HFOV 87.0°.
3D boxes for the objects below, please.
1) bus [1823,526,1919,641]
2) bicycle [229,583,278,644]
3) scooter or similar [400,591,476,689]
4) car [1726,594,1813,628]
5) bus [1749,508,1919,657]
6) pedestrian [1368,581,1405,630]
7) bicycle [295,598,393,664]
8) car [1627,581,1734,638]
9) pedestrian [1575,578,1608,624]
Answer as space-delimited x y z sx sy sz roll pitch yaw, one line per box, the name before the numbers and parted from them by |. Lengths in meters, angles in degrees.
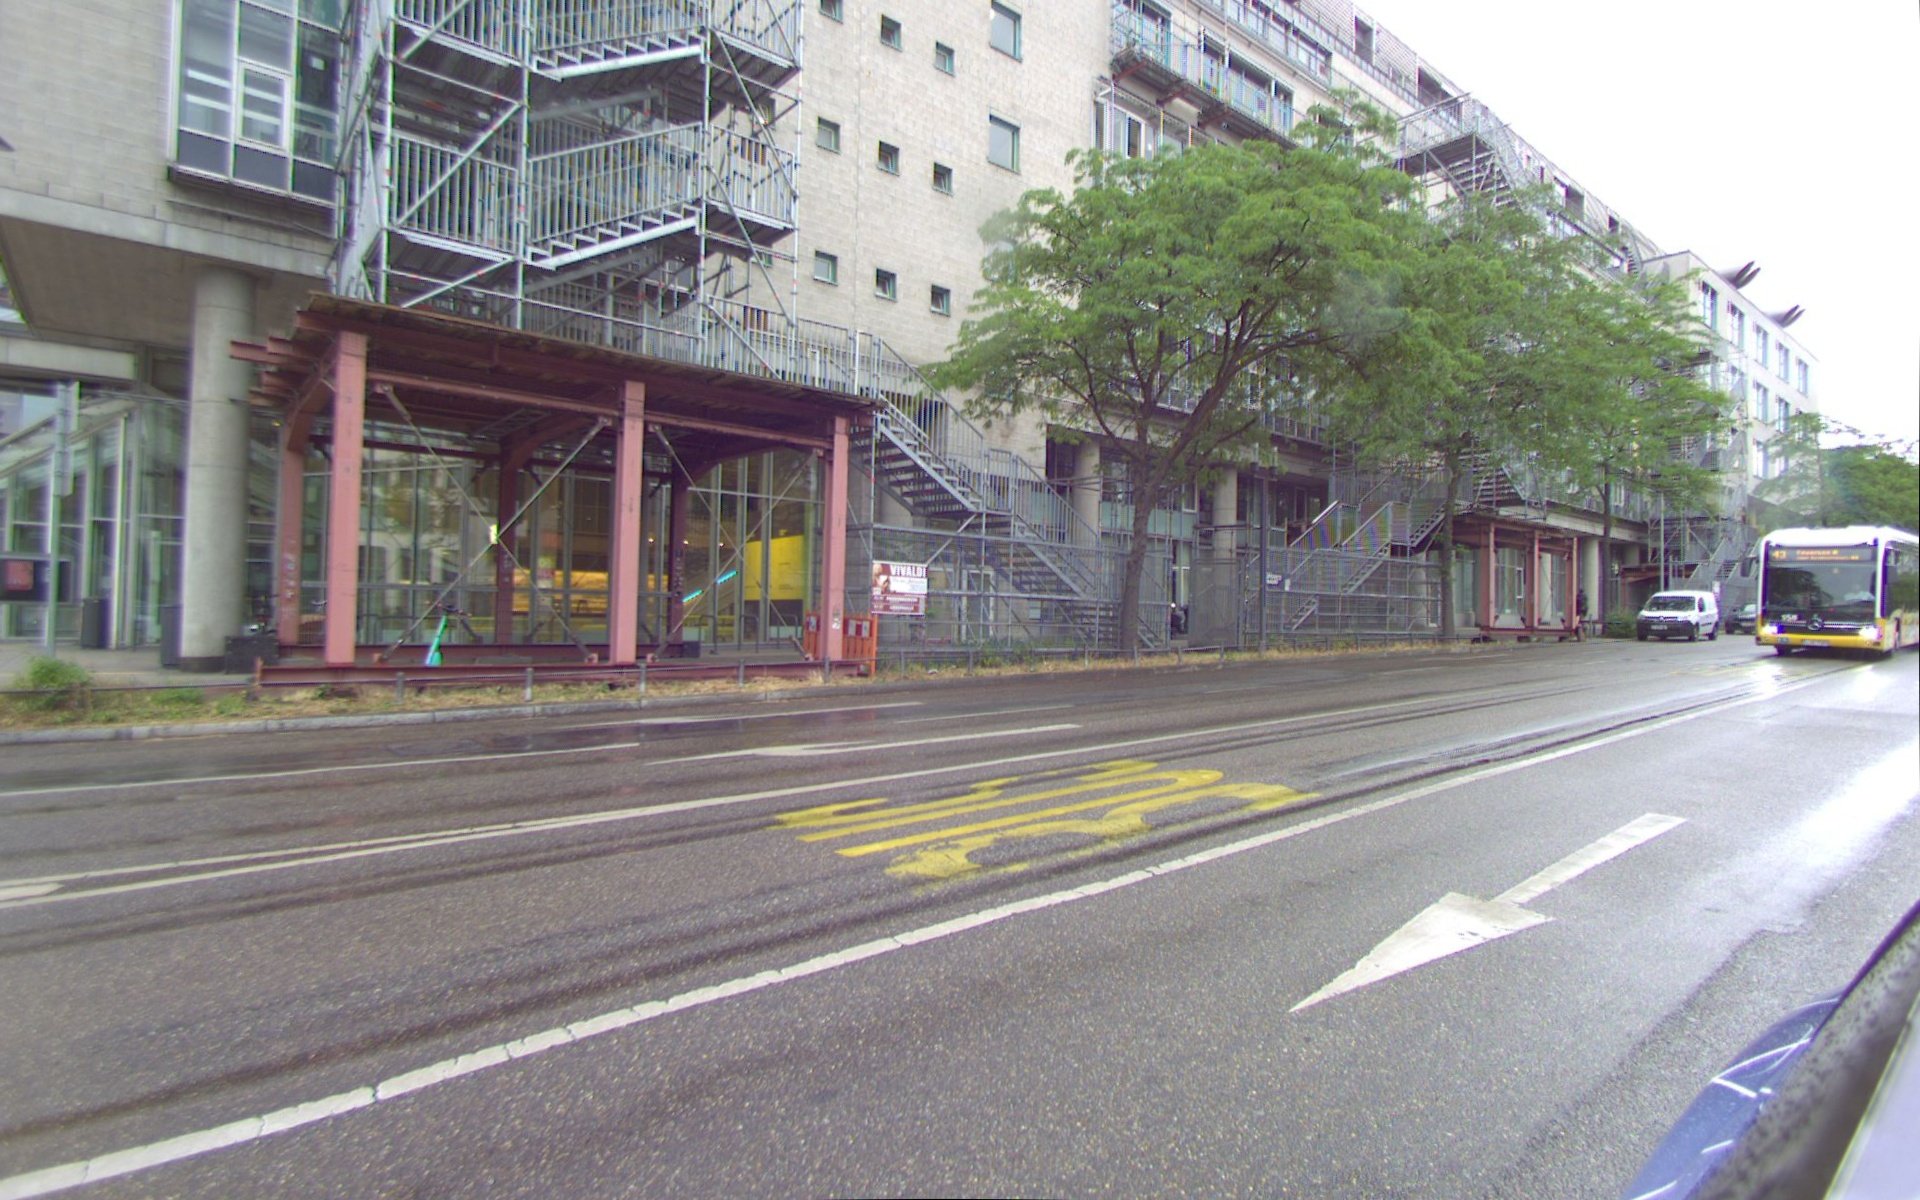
bus | 32.094 -0.559 34.323 9.541 3.483 2.888 -1 0 -41
bicycle | -14.470 0.264 20.716 0.577 1.209 1.611 0 0 -44
scooter or similar | -6.934 0.493 13.415 0.576 1.209 1.782 1 0 -38
car | 35.099 0.434 43.816 4.733 1.353 2.145 -1 1 -41
bus | 24.856 -0.466 28.057 9.586 3.494 2.888 -1 0 -41
pedestrian | 15.937 0.197 37.810 0.831 1.822 1.008 0 0 -41
bicycle | -11.981 0.580 19.740 0.580 1.209 1.602 0 0 24
car | 26.073 0.298 36.588 4.254 1.930 2.211 -1 0 -41
pedestrian | 28.981 0.036 46.423 1.021 2.039 1.009 0 0 -41
